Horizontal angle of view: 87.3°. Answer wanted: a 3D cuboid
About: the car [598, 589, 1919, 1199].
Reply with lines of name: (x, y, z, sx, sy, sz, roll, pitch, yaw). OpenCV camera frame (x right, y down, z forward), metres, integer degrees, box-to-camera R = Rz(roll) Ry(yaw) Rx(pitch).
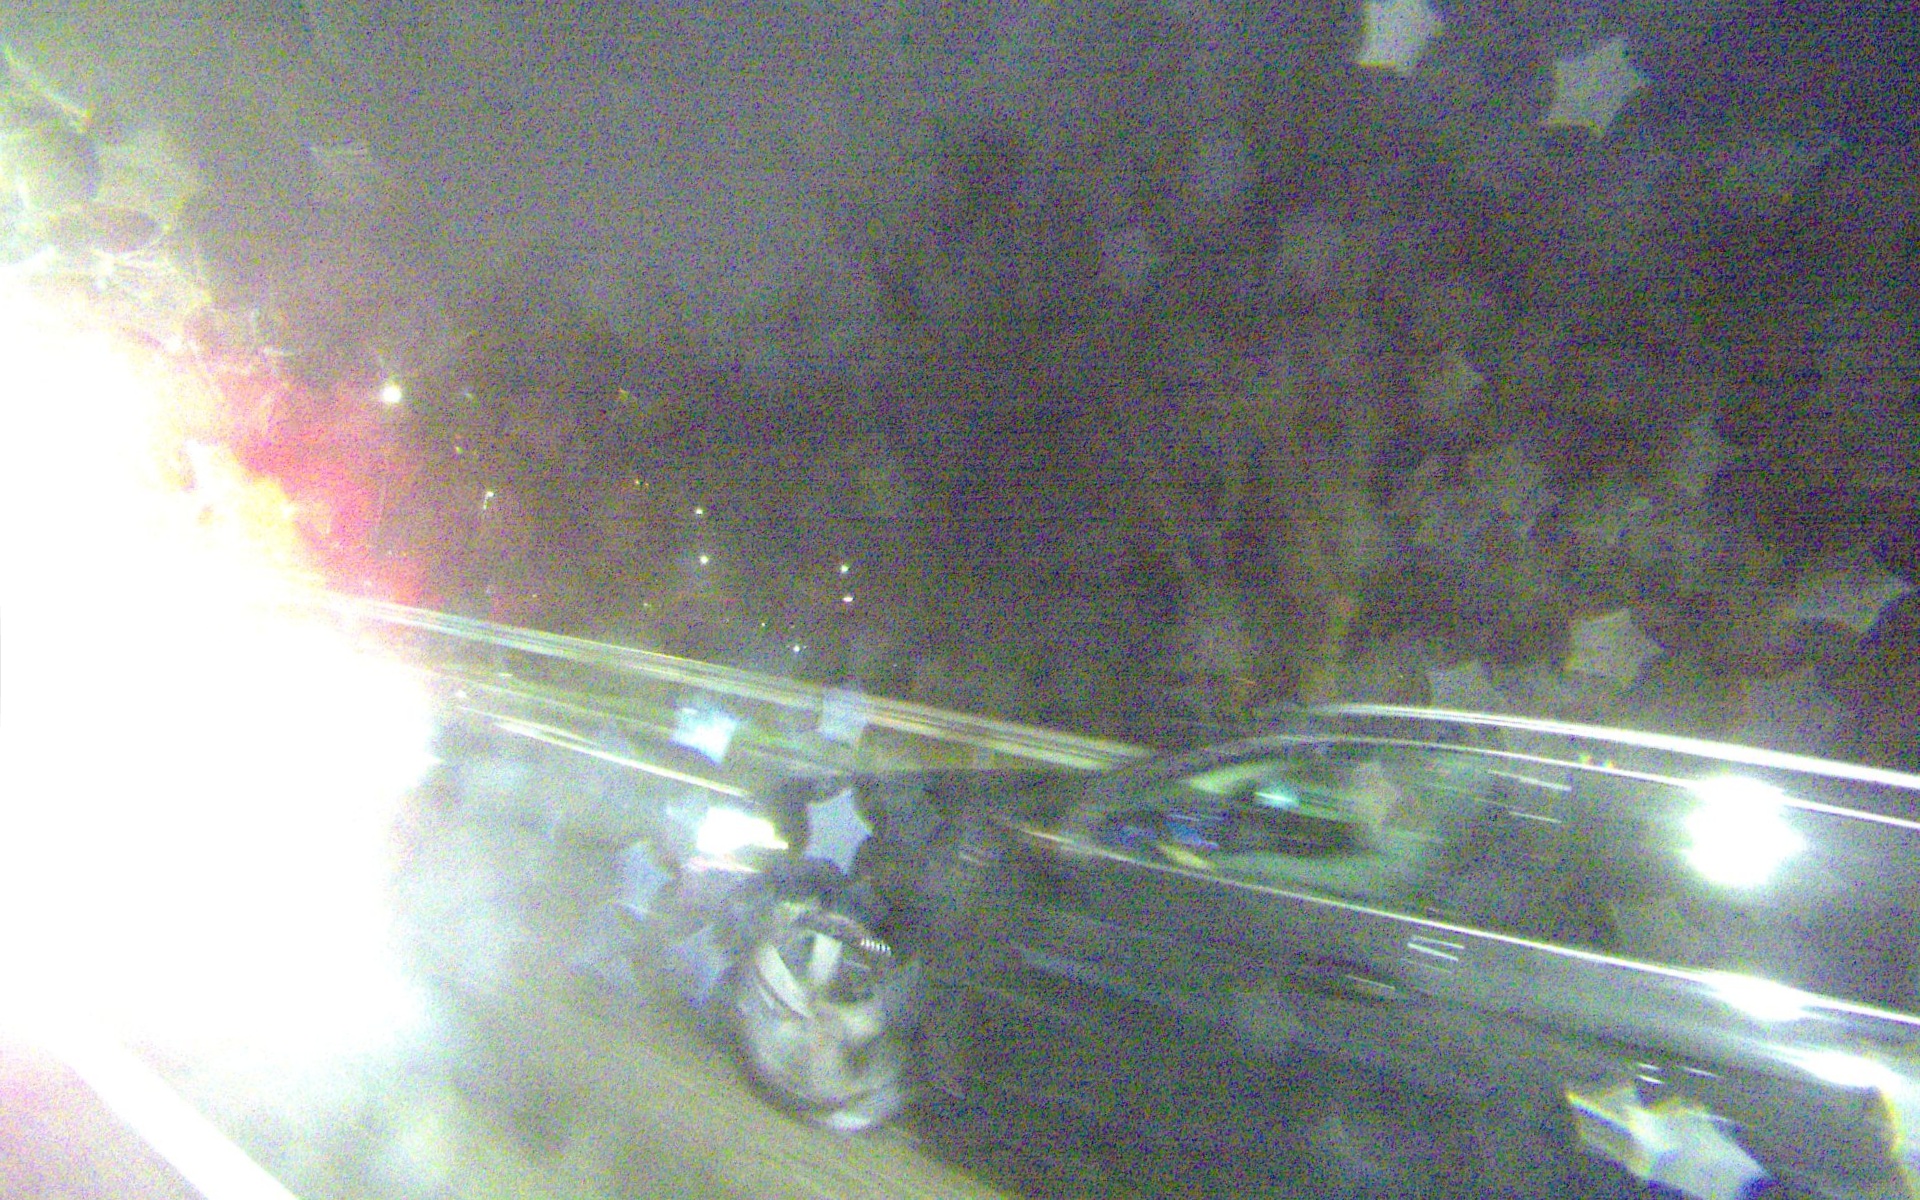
car: (1.214, 1.005, 2.831, 4.486, 1.522, 1.677, 5, -4, 33)

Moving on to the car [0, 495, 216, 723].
car: (-7.971, -0.062, 8.094, 3.894, 1.539, 1.681, 6, -2, 31)
